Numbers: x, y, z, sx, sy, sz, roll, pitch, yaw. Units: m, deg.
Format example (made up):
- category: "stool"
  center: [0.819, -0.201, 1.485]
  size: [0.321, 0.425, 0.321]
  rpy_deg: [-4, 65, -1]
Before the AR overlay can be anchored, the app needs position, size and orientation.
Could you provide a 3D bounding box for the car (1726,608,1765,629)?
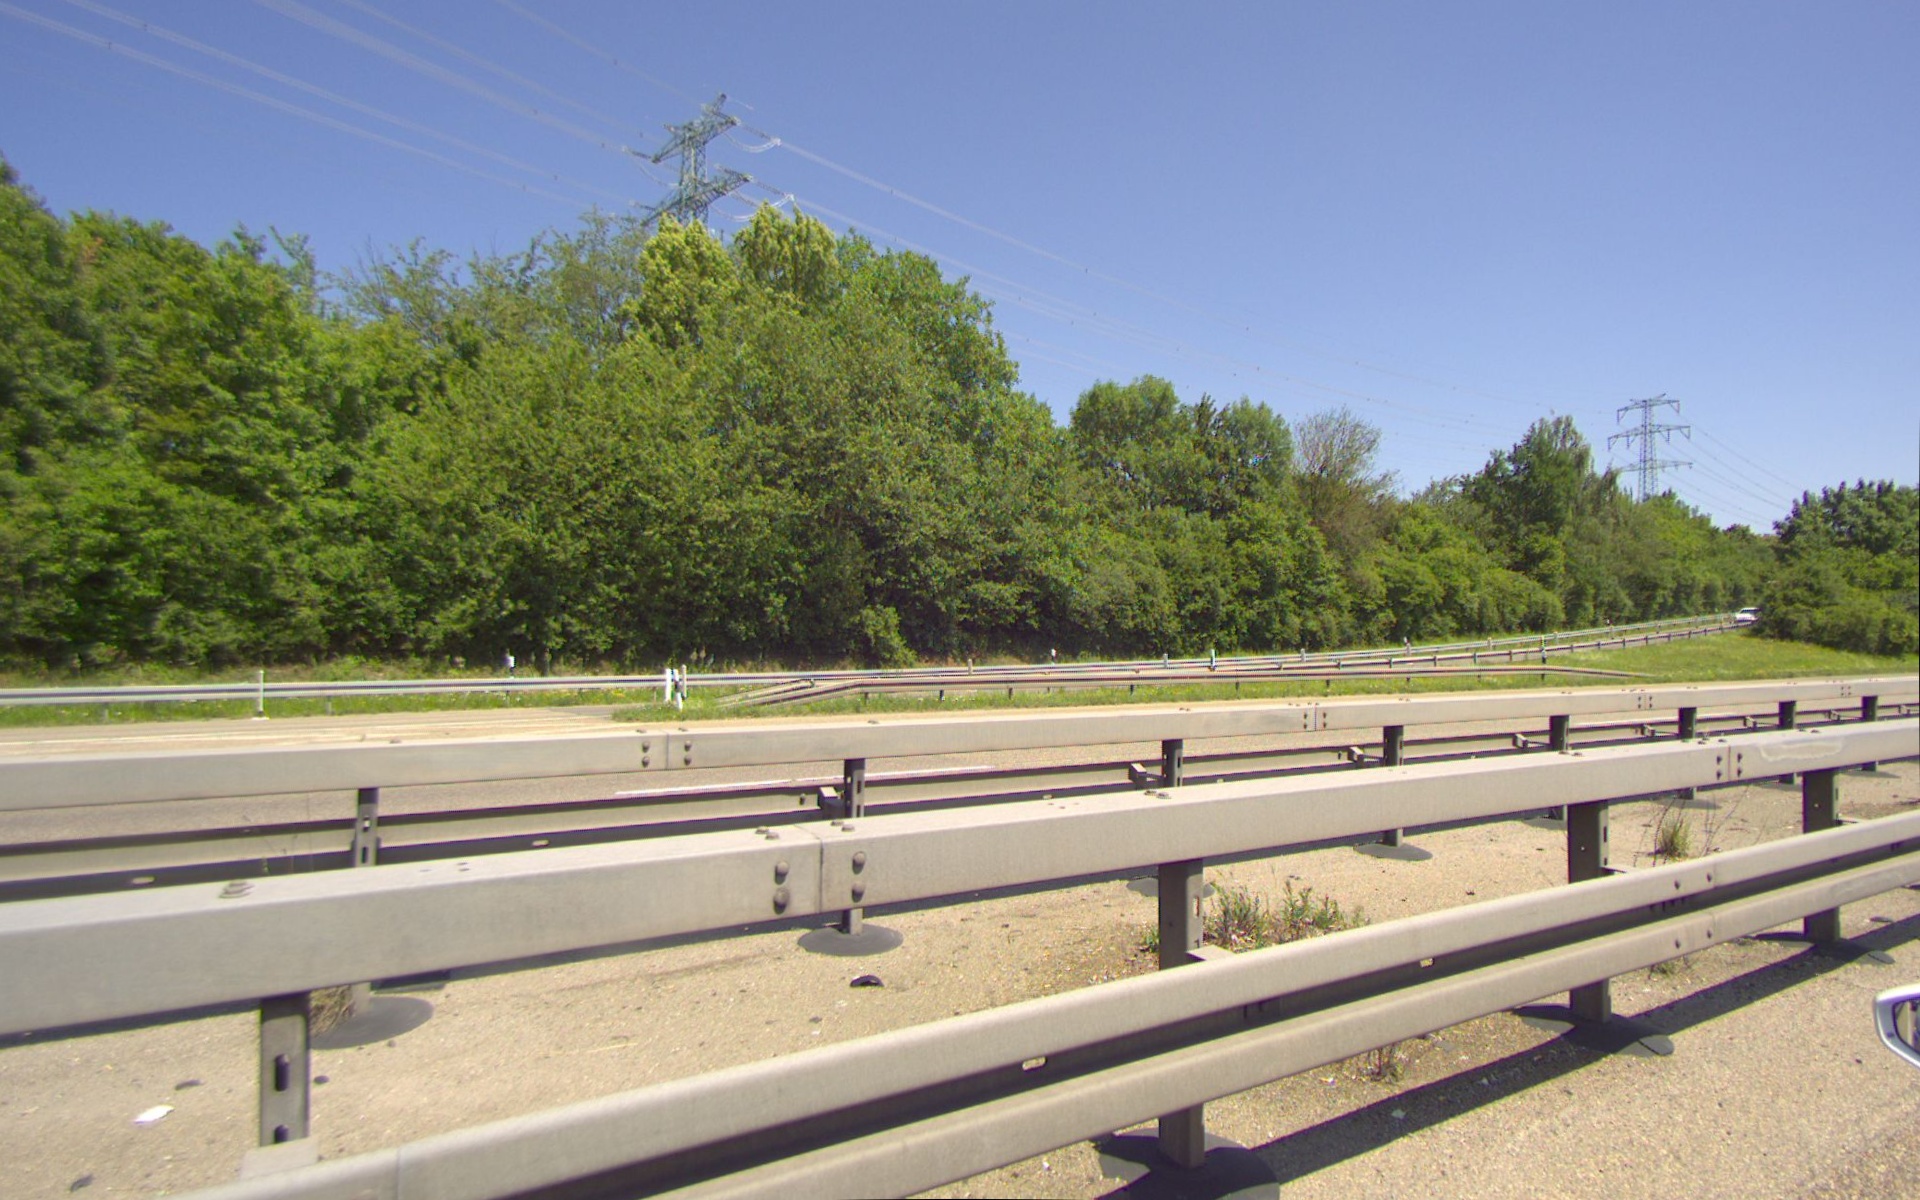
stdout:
- category: "car"
  center: [68.755, 1.610, 87.886]
  size: [4.859, 1.696, 1.621]
  rpy_deg: [2, 0, -39]
